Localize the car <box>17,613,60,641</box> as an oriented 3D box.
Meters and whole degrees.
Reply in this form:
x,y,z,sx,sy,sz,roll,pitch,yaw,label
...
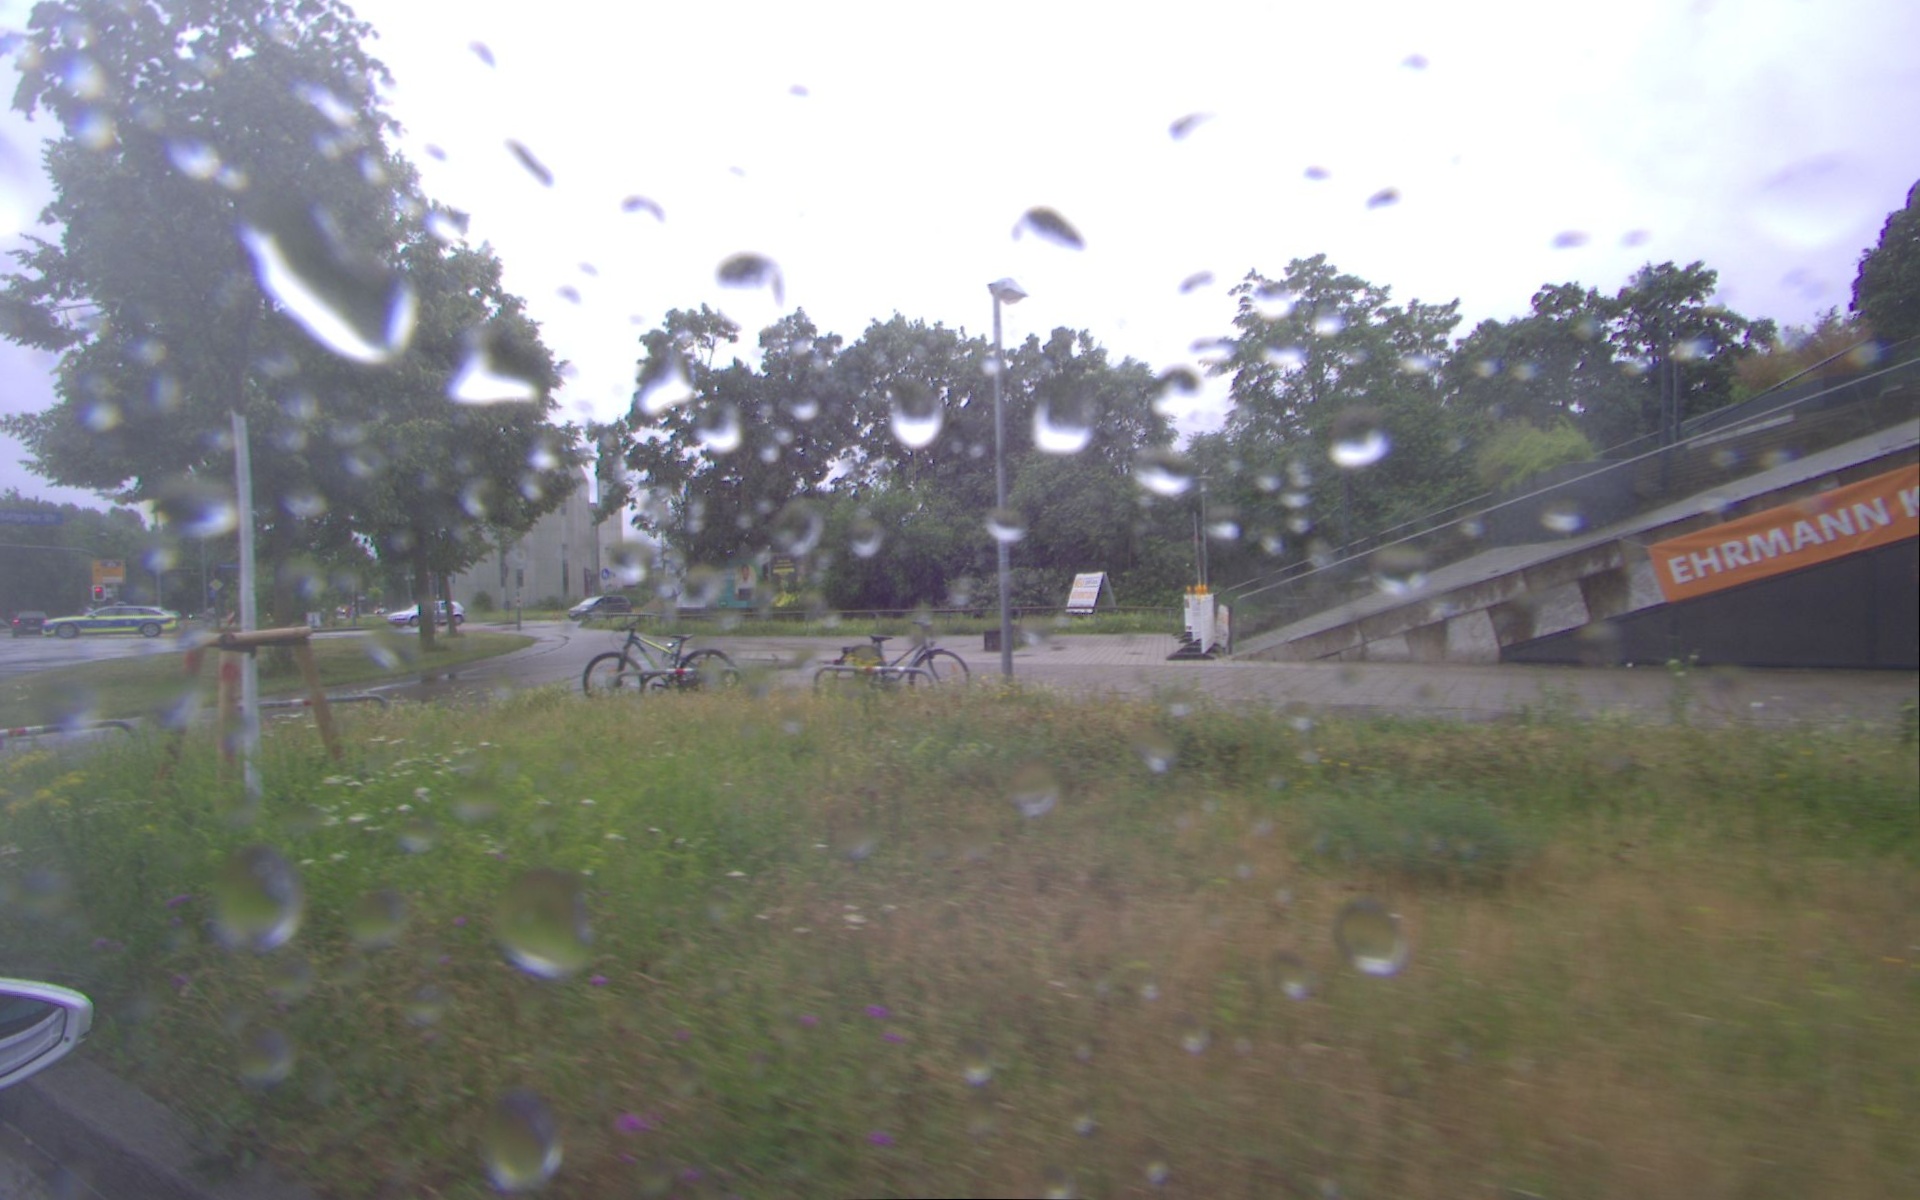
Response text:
x,y,z,sx,sy,sz,roll,pitch,yaw,label
-52.444,1.507,56.967,1.608,1.473,3.947,-1,0,-45,car

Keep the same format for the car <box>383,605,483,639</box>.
x,y,z,sx,sy,sz,roll,pitch,yaw,label
-30.053,1.311,57.234,1.970,1.874,4.755,-1,-2,30,car

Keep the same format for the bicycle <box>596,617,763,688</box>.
x,y,z,sx,sy,sz,roll,pitch,yaw,label
-3.214,0.598,11.542,1.823,0.797,0.380,0,-1,-1,bicycle

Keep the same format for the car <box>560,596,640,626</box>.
x,y,z,sx,sy,sz,roll,pitch,yaw,label
-24.092,0.804,67.217,1.977,1.874,4.740,-2,-2,40,car

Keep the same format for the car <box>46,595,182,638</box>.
x,y,z,sx,sy,sz,roll,pitch,yaw,label
-39.349,0.726,46.764,4.719,1.876,1.984,-1,0,-39,car

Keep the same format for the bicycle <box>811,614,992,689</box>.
x,y,z,sx,sy,sz,roll,pitch,yaw,label
-0.658,0.573,11.123,1.972,0.797,0.454,-1,-2,16,bicycle
